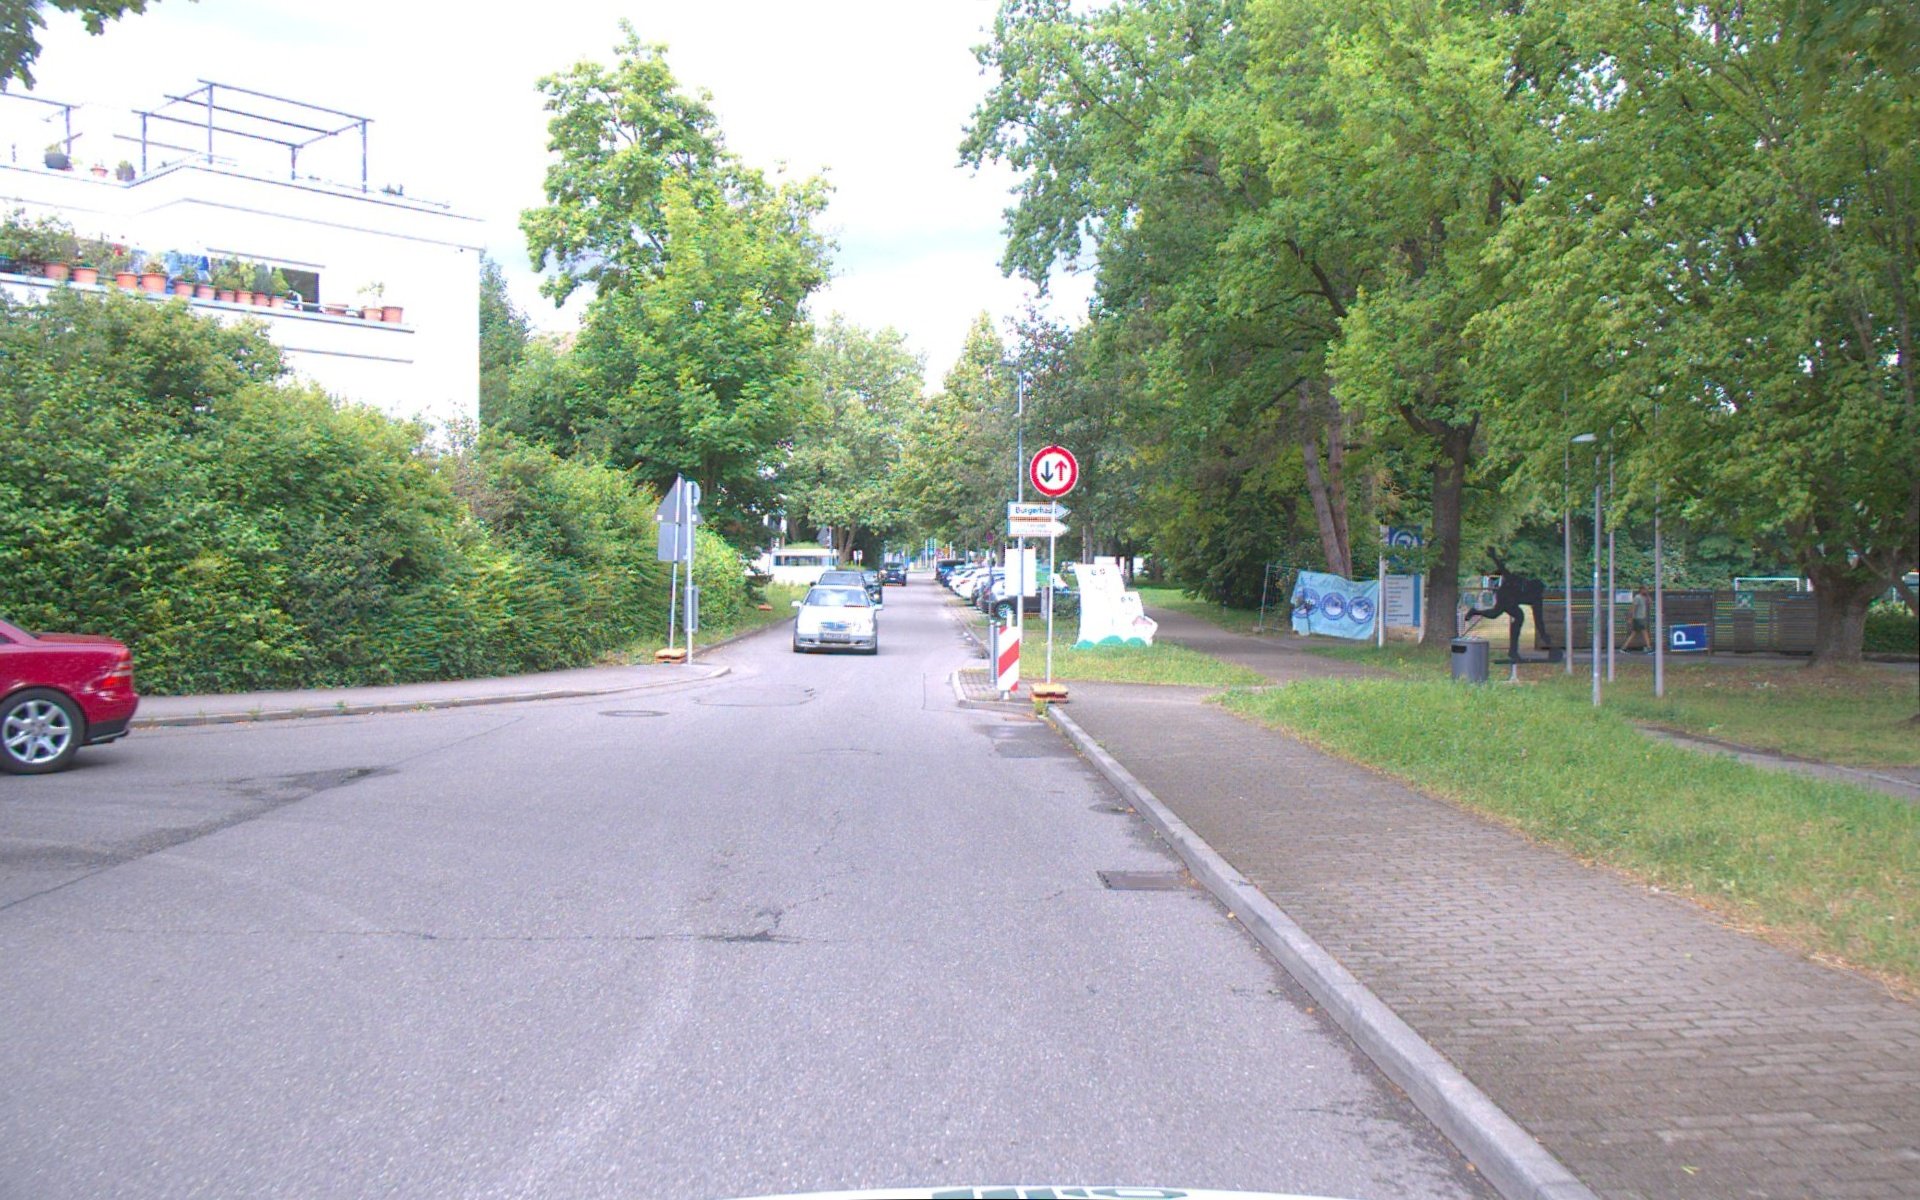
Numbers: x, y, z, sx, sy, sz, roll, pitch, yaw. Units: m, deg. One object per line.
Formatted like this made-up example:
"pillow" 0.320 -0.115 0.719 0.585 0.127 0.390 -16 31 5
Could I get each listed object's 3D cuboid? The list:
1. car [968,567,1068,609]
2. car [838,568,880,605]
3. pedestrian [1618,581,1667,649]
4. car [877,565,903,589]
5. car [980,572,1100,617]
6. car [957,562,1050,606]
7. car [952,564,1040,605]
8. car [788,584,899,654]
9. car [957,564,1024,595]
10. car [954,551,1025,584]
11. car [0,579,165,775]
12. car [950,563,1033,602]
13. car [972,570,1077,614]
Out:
"car" 2.422 -0.519 69.781 3.984 1.514 1.821 -3 1 -5
"car" -4.522 -0.616 74.459 1.767 1.619 4.294 1 1 -2
"pedestrian" 17.507 0.396 42.423 1.124 1.704 0.793 -1 -1 24
"car" -5.361 -1.750 126.954 1.929 1.778 4.336 1 1 -3
"car" 2.733 -0.180 57.280 3.981 1.459 1.999 -1 -1 -3
"car" 1.950 -0.734 74.813 3.984 1.716 1.821 -3 1 -5
"car" 1.696 -0.763 78.954 3.984 1.716 1.821 -3 1 -5
"car" -2.356 0.350 34.410 1.744 1.329 4.298 1 1 3
"car" 1.894 -1.289 104.326 3.984 1.716 1.821 -3 1 -5
"car" 1.731 -1.919 98.179 3.984 1.716 1.821 -3 1 -5
"car" -7.960 0.531 11.548 4.034 1.359 1.728 0 1 -44
"car" 1.592 -0.899 84.626 3.984 1.716 1.821 -3 1 -5
"car" 2.508 -0.329 64.895 3.981 1.595 1.822 -1 1 -3
